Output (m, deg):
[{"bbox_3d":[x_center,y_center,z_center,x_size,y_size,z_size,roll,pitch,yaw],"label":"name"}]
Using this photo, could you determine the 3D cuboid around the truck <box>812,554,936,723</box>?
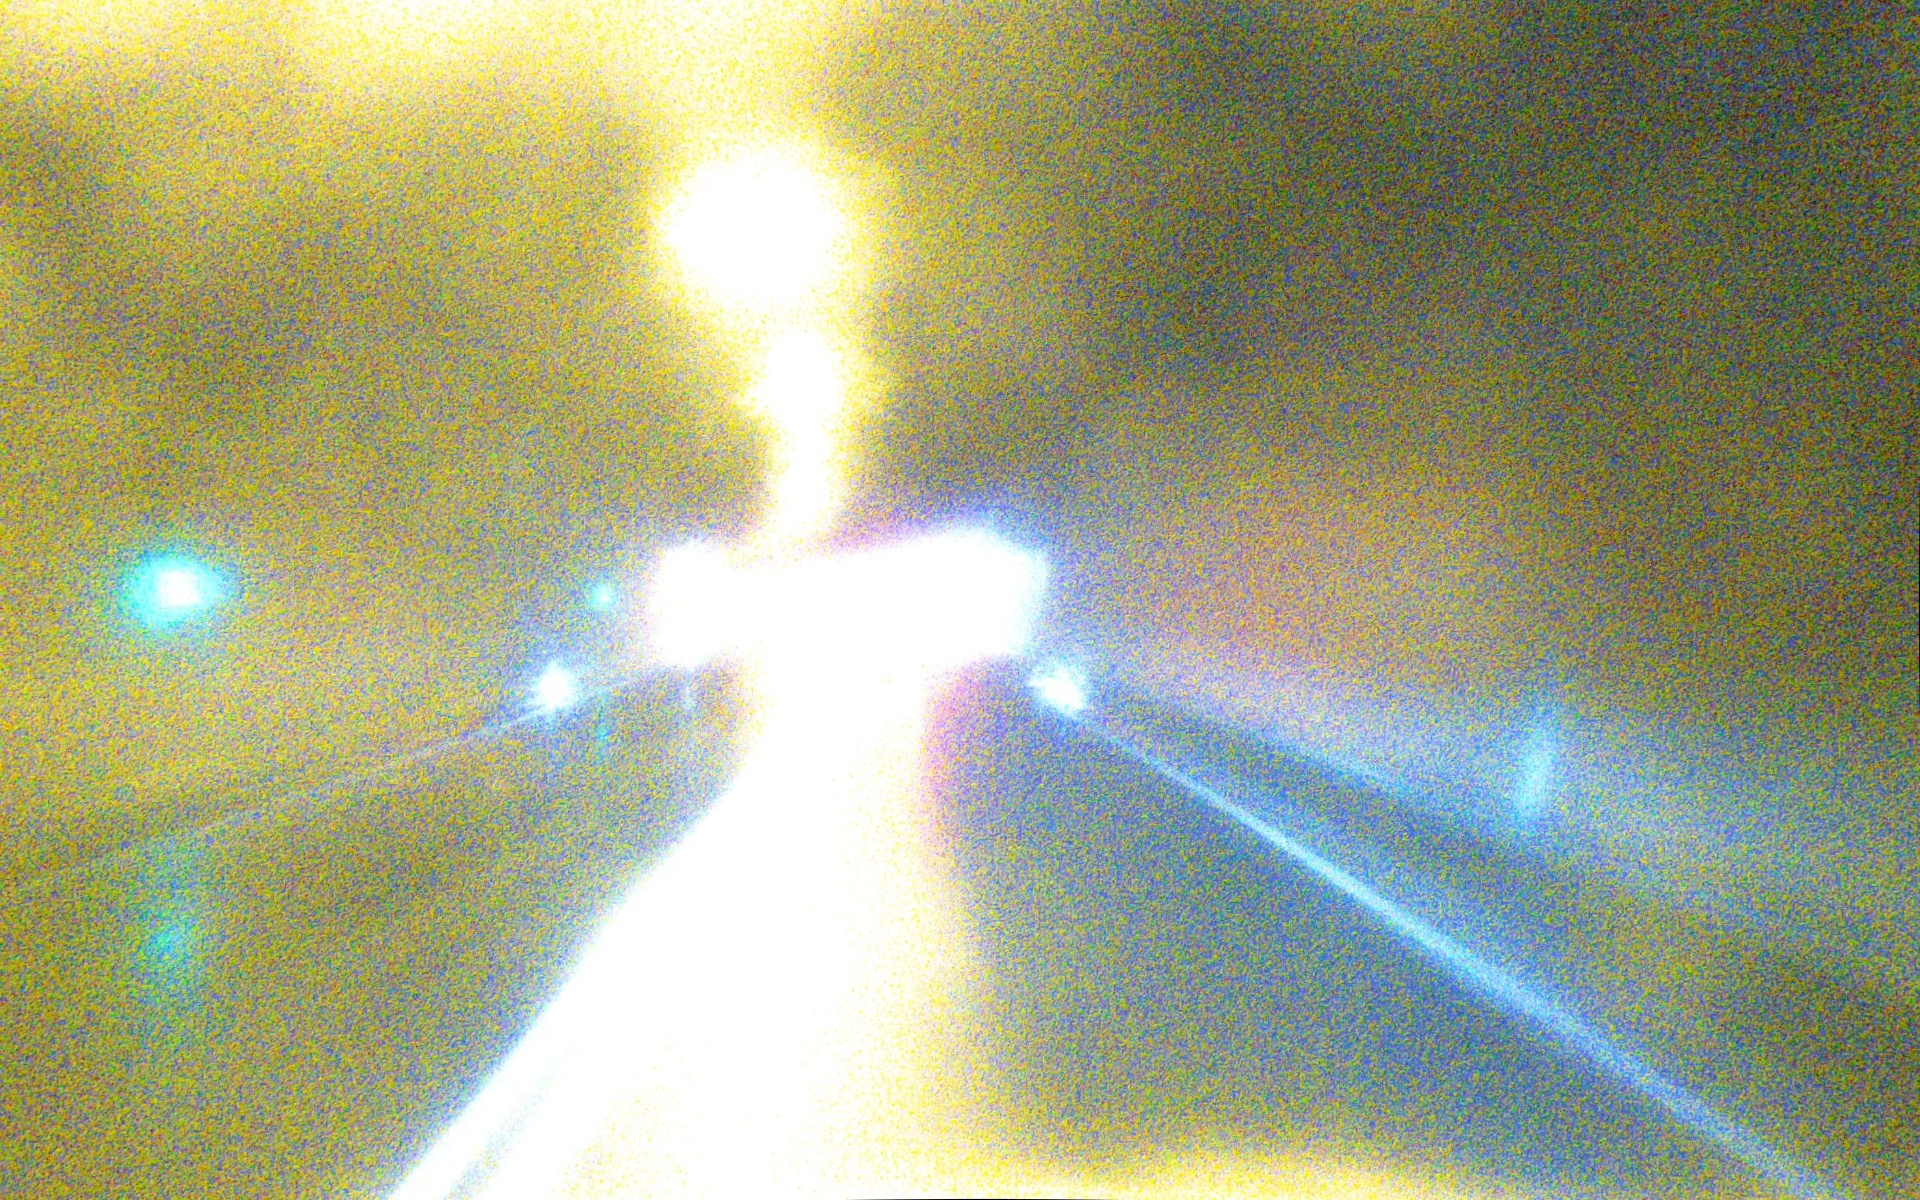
[{"bbox_3d":[-1.756,0.707,34.284,2.217,3.063,7.411,2,0,-3],"label":"truck"}]
